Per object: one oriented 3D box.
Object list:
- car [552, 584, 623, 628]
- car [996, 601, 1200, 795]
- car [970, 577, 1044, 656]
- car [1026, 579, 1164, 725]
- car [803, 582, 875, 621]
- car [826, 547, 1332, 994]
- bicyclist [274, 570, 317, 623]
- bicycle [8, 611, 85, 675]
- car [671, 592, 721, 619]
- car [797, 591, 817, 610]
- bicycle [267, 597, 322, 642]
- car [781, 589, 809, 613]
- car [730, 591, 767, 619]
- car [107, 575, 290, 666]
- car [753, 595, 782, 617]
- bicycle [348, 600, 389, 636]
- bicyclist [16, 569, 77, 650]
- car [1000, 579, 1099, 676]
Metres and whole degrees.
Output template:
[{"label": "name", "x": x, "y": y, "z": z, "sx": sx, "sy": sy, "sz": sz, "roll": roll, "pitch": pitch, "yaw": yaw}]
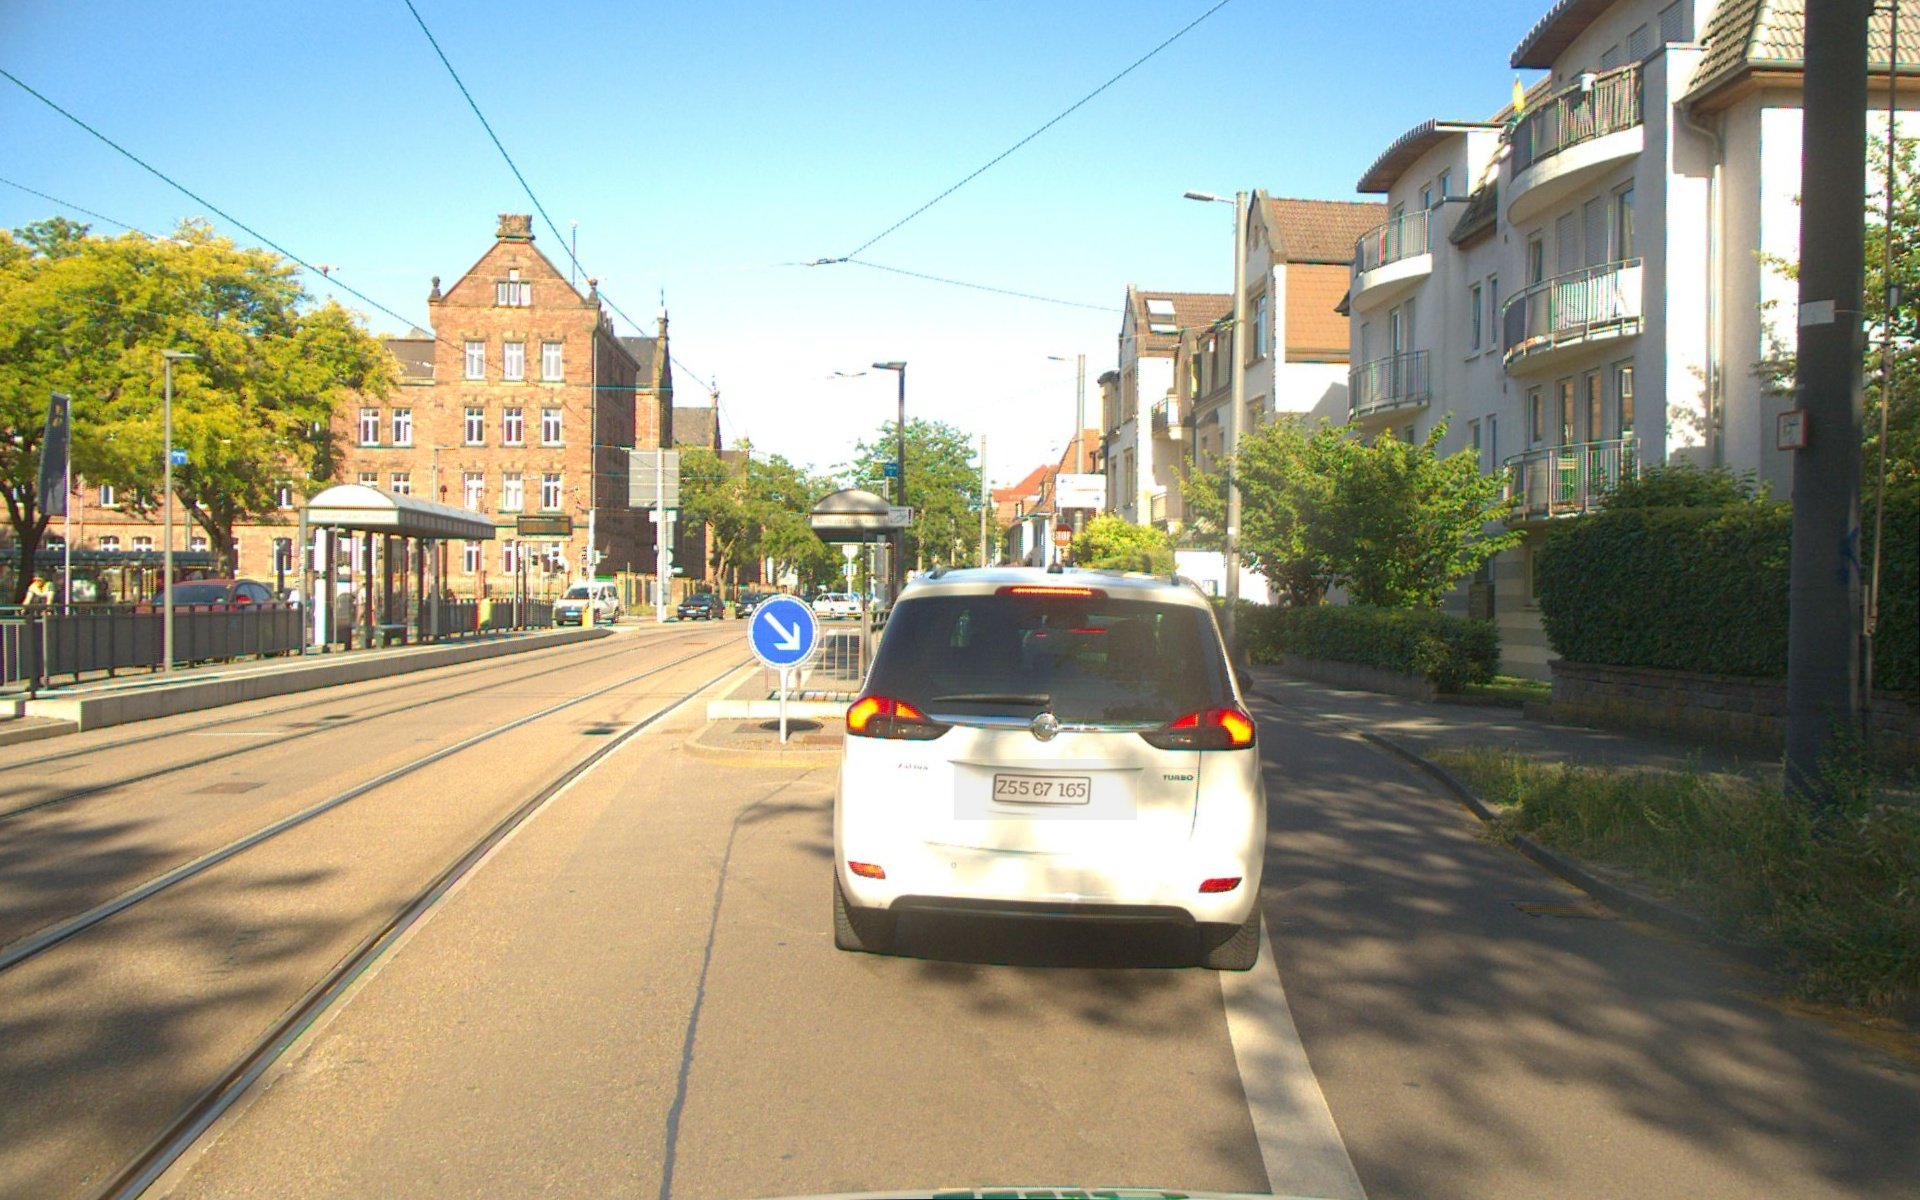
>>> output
[{"label": "car", "x": -16.173, "y": 0.239, "z": 71.992, "sx": 1.788, "sy": 1.819, "sz": 4.258, "roll": 0, "pitch": 0, "yaw": 5}, {"label": "car", "x": 1.229, "y": 0.764, "z": 14.778, "sx": 1.536, "sy": 1.426, "sz": 3.786, "roll": 2, "pitch": 0, "yaw": 5}, {"label": "car", "x": 1.101, "y": 0.360, "z": 39.955, "sx": 1.563, "sy": 1.663, "sz": 3.901, "roll": 2, "pitch": 2, "yaw": -1}, {"label": "car", "x": 1.717, "y": 0.591, "z": 21.037, "sx": 1.536, "sy": 1.643, "sz": 3.786, "roll": 2, "pitch": 0, "yaw": 5}, {"label": "car", "x": -6.632, "y": 0.061, "z": 90.232, "sx": 1.982, "sy": 2.049, "sz": 3.941, "roll": 0, "pitch": 0, "yaw": -40}, {"label": "car", "x": 0.413, "y": 0.635, "z": 8.074, "sx": 1.840, "sy": 1.613, "sz": 3.999, "roll": 1, "pitch": 0, "yaw": -1}, {"label": "bicyclist", "x": -18.966, "y": -0.103, "z": 47.216, "sx": 0.741, "sy": 1.496, "sz": 1.190, "roll": 1, "pitch": 0, "yaw": -1}, {"label": "bicycle", "x": -17.145, "y": 0.824, "z": 31.076, "sx": 0.672, "sy": 1.108, "sz": 1.851, "roll": -1, "pitch": -3, "yaw": -9}, {"label": "car", "x": -14.188, "y": 0.271, "z": 89.080, "sx": 1.760, "sy": 1.406, "sz": 4.497, "roll": 0, "pitch": 1, "yaw": 3}, {"label": "car", "x": -14.153, "y": 0.043, "z": 153.453, "sx": 1.628, "sy": 1.680, "sz": 3.998, "roll": 0, "pitch": 0, "yaw": -2}, {"label": "bicycle", "x": -18.980, "y": 0.548, "z": 47.217, "sx": 0.798, "sy": 1.219, "sz": 1.952, "roll": 1, "pitch": 0, "yaw": -1}, {"label": "car", "x": -14.194, "y": 0.057, "z": 142.746, "sx": 1.952, "sy": 2.049, "sz": 4.000, "roll": 0, "pitch": 0, "yaw": 0}, {"label": "car", "x": -13.210, "y": 0.333, "z": 103.546, "sx": 1.790, "sy": 1.645, "sz": 4.326, "roll": 1, "pitch": -1, "yaw": -1}, {"label": "car", "x": -14.562, "y": 0.365, "z": 31.890, "sx": 1.782, "sy": 1.635, "sz": 4.355, "roll": 0, "pitch": 0, "yaw": -5}, {"label": "car", "x": -13.357, "y": 0.427, "z": 115.002, "sx": 1.791, "sy": 1.471, "sz": 4.323, "roll": 1, "pitch": -1, "yaw": -5}, {"label": "bicycle", "x": -19.088, "y": 0.578, "z": 53.417, "sx": 0.655, "sy": 1.091, "sz": 2.014, "roll": 1, "pitch": 1, "yaw": -3}, {"label": "bicyclist", "x": -17.134, "y": 0.179, "z": 31.045, "sx": 0.641, "sy": 1.485, "sz": 1.150, "roll": 0, "pitch": 0, "yaw": -9}, {"label": "car", "x": 1.652, "y": 0.482, "z": 31.603, "sx": 1.563, "sy": 1.663, "sz": 3.900, "roll": 2, "pitch": 0, "yaw": -1}]
